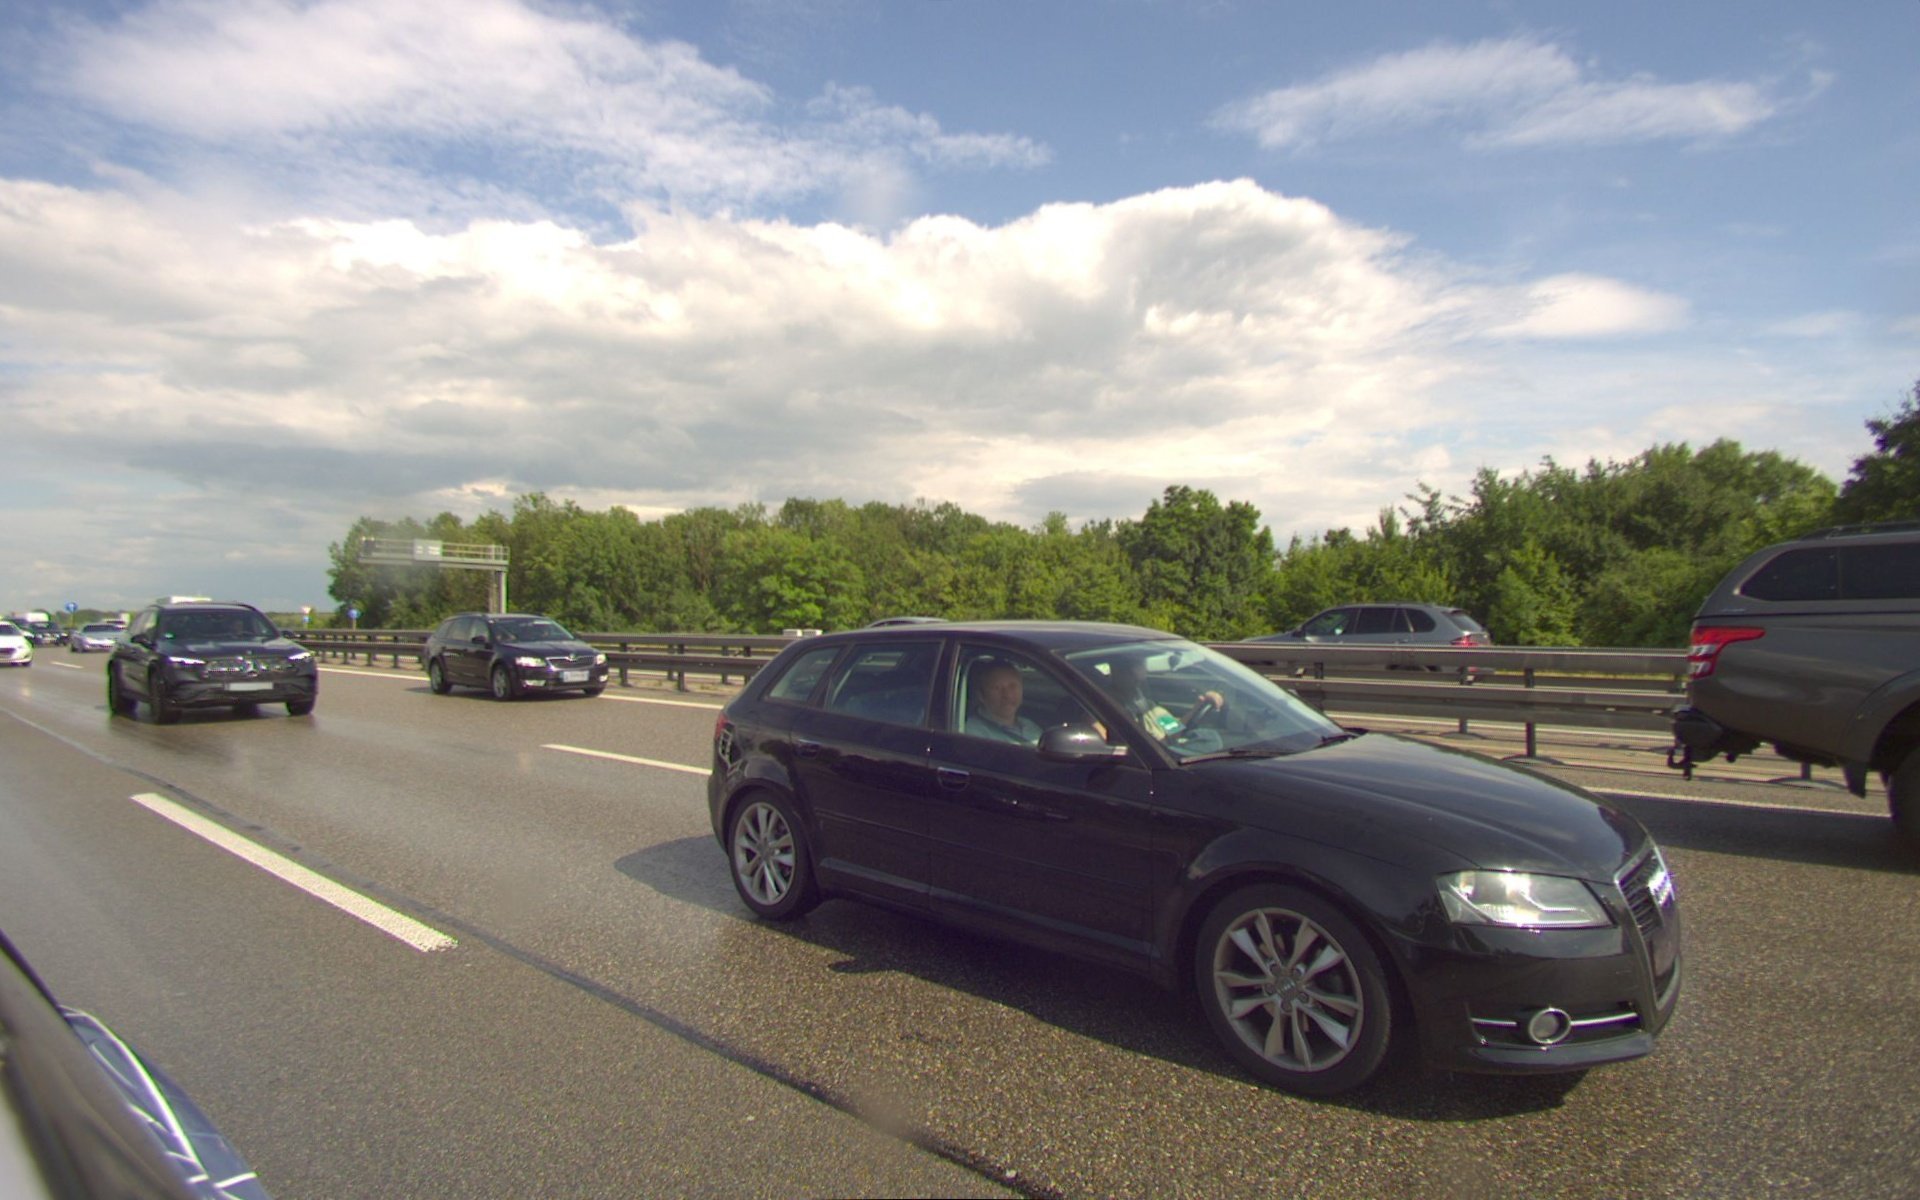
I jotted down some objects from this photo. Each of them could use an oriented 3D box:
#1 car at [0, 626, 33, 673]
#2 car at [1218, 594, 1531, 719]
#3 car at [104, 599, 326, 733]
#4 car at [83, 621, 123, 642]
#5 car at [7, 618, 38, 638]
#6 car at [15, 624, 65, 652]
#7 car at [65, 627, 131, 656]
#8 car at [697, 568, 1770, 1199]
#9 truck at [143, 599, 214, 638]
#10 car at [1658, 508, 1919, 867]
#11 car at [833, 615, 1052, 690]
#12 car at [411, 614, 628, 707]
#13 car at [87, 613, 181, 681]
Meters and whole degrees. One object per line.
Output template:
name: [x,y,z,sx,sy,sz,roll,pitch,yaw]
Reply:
car: [-31.101,1.556,32.314,4.239,1.408,1.785,-1,-2,42]
car: [7.558,0.942,18.821,5.074,2.029,1.832,-1,0,40]
car: [-11.154,0.867,15.016,4.626,1.692,1.856,-1,-1,43]
car: [-71.951,2.630,84.937,4.242,1.655,1.748,-1,-1,39]
car: [-114.224,3.423,123.248,6.099,2.414,2.092,-1,-1,41]
car: [-49.937,2.057,54.911,3.998,1.431,1.597,-1,-1,41]
car: [-38.270,1.808,44.906,3.583,1.198,1.832,-1,-1,43]
car: [0.767,0.687,4.292,4.053,1.444,1.731,-1,-1,43]
truck: [-64.002,1.511,82.794,8.717,3.009,2.886,-1,0,41]
car: [6.749,0.421,4.850,5.416,1.858,1.787,-1,-1,42]
car: [-0.448,1.032,21.015,4.492,1.364,1.848,-1,-1,42]
car: [-7.928,0.983,18.011,4.371,1.435,1.900,-1,-1,42]
car: [-20.926,1.149,25.615,2.829,1.609,1.391,-1,-1,41]
